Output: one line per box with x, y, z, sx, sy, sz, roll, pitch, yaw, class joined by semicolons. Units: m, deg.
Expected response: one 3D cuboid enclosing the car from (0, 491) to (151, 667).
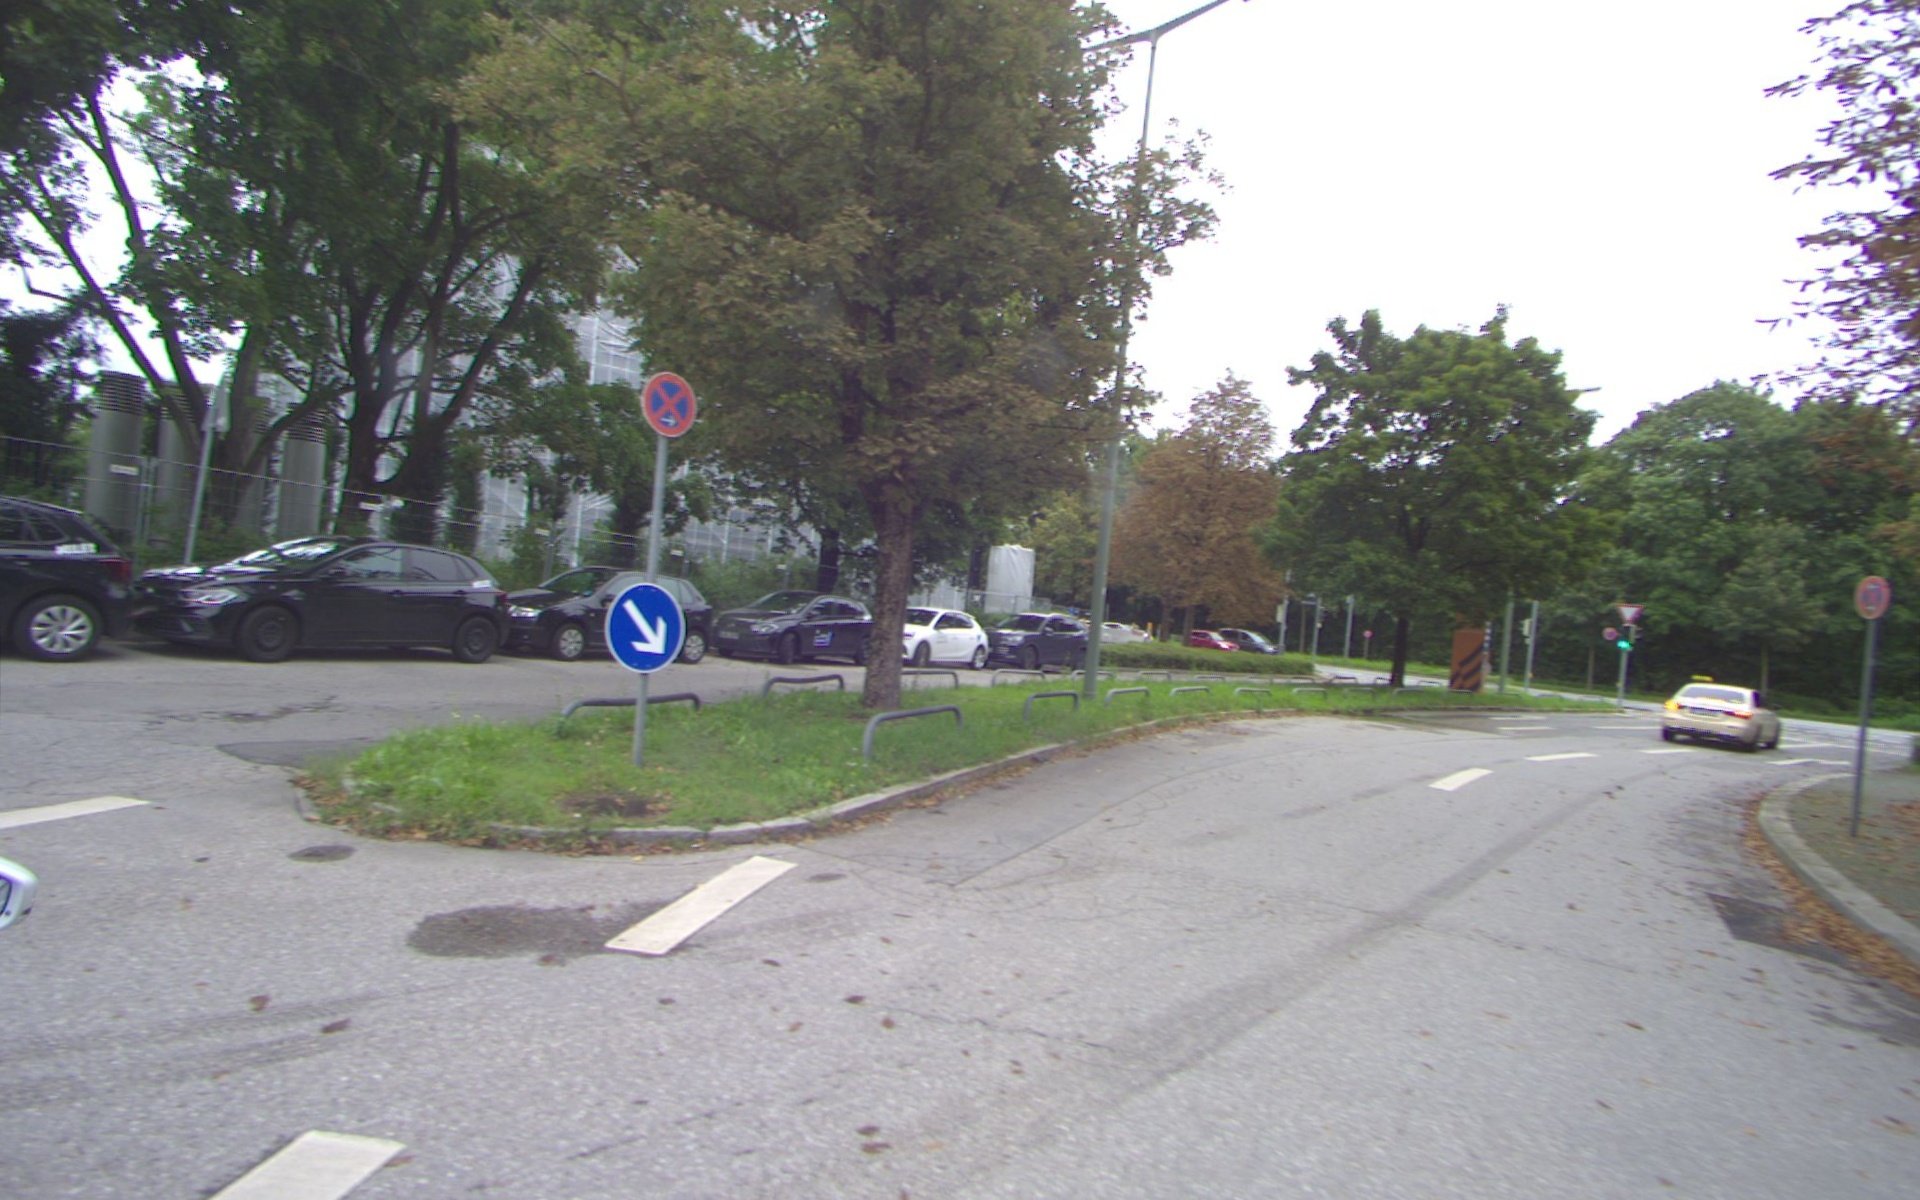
-9.485;-0.335;8.171;1.966;1.450;4.036;8;0;29;car

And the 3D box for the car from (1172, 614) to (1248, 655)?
15.694;2.155;63.298;1.986;2.039;4.109;6;0;-42;car

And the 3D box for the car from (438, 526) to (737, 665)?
-5.711;0.018;15.938;1.966;1.727;3.994;8;0;29;car

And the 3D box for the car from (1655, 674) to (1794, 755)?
18.764;2.795;24.602;4.821;1.564;1.871;7;0;-43;car

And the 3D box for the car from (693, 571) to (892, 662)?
-3.281;0.392;20.433;1.809;1.478;4.000;5;-1;29;car

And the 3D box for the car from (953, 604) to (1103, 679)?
1.993;1.217;28.253;1.865;1.624;4.380;5;-2;40;car

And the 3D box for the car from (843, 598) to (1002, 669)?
-0.813;0.869;24.603;1.772;1.400;4.210;5;-1;31;car

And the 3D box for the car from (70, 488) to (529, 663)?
-7.528;-0.179;11.894;1.966;1.560;3.994;7;0;29;car

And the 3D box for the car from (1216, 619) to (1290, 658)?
18.757;2.445;64.427;1.986;2.039;3.953;6;0;-42;car
